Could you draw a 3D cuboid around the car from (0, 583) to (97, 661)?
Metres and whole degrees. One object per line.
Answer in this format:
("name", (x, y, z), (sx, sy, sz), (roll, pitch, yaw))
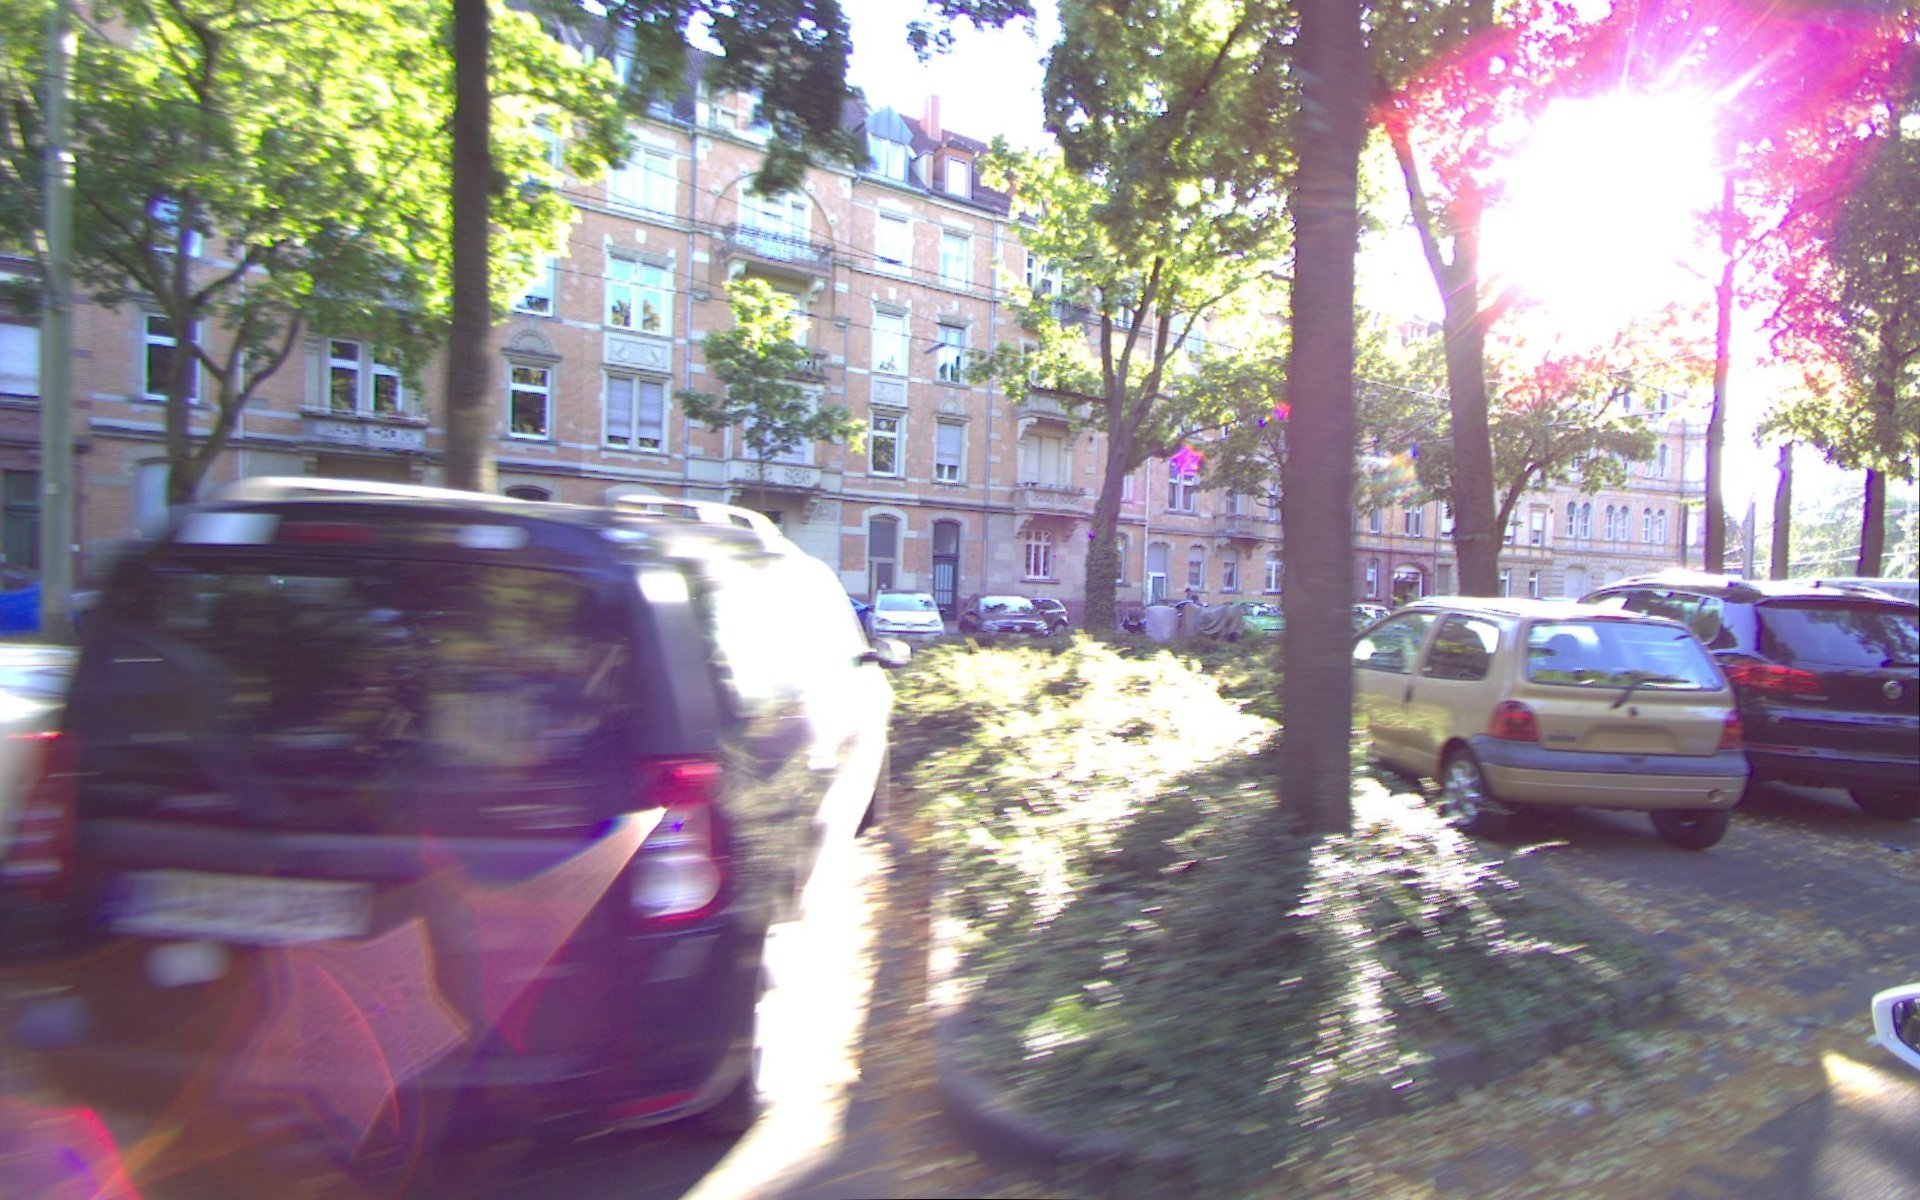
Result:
("car", (-14.489, 0.293, 13.823), (1.792, 1.112, 4.166), (1, -1, -4))

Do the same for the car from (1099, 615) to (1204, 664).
("car", (7.513, 1.513, 39.273), (3.959, 1.799, 1.783), (1, -1, -34))

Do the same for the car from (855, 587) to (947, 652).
("car", (-1.447, 0.399, 23.340), (1.566, 1.335, 3.991), (2, 0, -11))

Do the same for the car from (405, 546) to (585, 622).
("car", (-11.939, -0.343, 25.881), (3.982, 1.806, 1.840), (1, -1, -34))

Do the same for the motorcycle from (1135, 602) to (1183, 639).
("motorcycle", (5.167, 0.521, 26.253), (1.000, 0.901, 1.978), (2, 0, 5))

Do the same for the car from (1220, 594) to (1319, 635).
("car", (13.106, 0.590, 42.519), (4.017, 1.539, 1.839), (0, 4, -34))

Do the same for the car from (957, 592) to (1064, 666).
("car", (1.118, 0.648, 24.332), (1.962, 1.599, 3.996), (1, 0, -6))

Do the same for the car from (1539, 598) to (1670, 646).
("car", (26.308, 0.839, 41.229), (2.045, 1.788, 4.833), (1, 0, -4))

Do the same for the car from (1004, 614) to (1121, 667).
("car", (3.700, 1.416, 36.047), (3.959, 1.799, 1.783), (1, -1, -34))

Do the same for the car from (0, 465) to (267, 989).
("car", (-3.812, 0.403, 2.173), (1.899, 1.638, 4.513), (3, 3, -7))

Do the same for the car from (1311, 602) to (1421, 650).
("car", (13.120, 0.805, 32.696), (1.695, 1.399, 3.734), (1, 0, -6))

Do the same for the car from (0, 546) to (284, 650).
("car", (-17.558, -0.065, 21.919), (4.611, 2.032, 1.839), (0, 4, -34))

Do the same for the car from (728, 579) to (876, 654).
("car", (-4.793, 0.467, 30.570), (3.958, 2.041, 1.981), (0, 4, -34))

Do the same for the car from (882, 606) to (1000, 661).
("car", (-0.637, 1.073, 33.504), (3.471, 1.604, 1.839), (0, 4, -34))

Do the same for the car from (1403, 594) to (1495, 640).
("car", (24.552, 0.807, 50.345), (4.948, 2.091, 1.840), (0, 4, -34))

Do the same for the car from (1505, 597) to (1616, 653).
("car", (23.692, 0.935, 39.807), (1.960, 2.040, 4.000), (1, 0, 0))

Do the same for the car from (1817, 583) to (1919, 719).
("car", (14.233, 0.836, 12.852), (1.949, 1.805, 4.998), (3, 3, -3))

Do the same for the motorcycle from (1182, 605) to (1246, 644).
("motorcycle", (6.773, 0.632, 26.907), (1.002, 0.968, 1.723), (1, 0, -11))

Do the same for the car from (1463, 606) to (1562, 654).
("car", (20.901, 1.112, 38.146), (1.628, 1.662, 3.650), (1, 0, -2))

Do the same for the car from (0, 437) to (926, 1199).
("car", (-1.203, 0.434, 4.155), (1.817, 1.638, 4.518), (3, 3, 1))

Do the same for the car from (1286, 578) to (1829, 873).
("car", (3.876, 0.669, 7.304), (1.798, 1.445, 3.426), (3, 3, 0))

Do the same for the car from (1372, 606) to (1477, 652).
("car", (15.902, 0.938, 34.607), (1.563, 1.399, 4.289), (2, 0, 0))

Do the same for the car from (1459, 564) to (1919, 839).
("car", (6.266, 0.619, 8.574), (1.877, 1.666, 4.160), (3, 3, 1))

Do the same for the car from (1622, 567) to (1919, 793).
("car", (8.982, 0.652, 10.241), (1.846, 1.805, 4.161), (4, 3, 5))

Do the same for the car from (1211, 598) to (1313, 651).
("car", (8.812, 0.688, 29.599), (1.675, 1.399, 3.737), (2, 0, -3))
